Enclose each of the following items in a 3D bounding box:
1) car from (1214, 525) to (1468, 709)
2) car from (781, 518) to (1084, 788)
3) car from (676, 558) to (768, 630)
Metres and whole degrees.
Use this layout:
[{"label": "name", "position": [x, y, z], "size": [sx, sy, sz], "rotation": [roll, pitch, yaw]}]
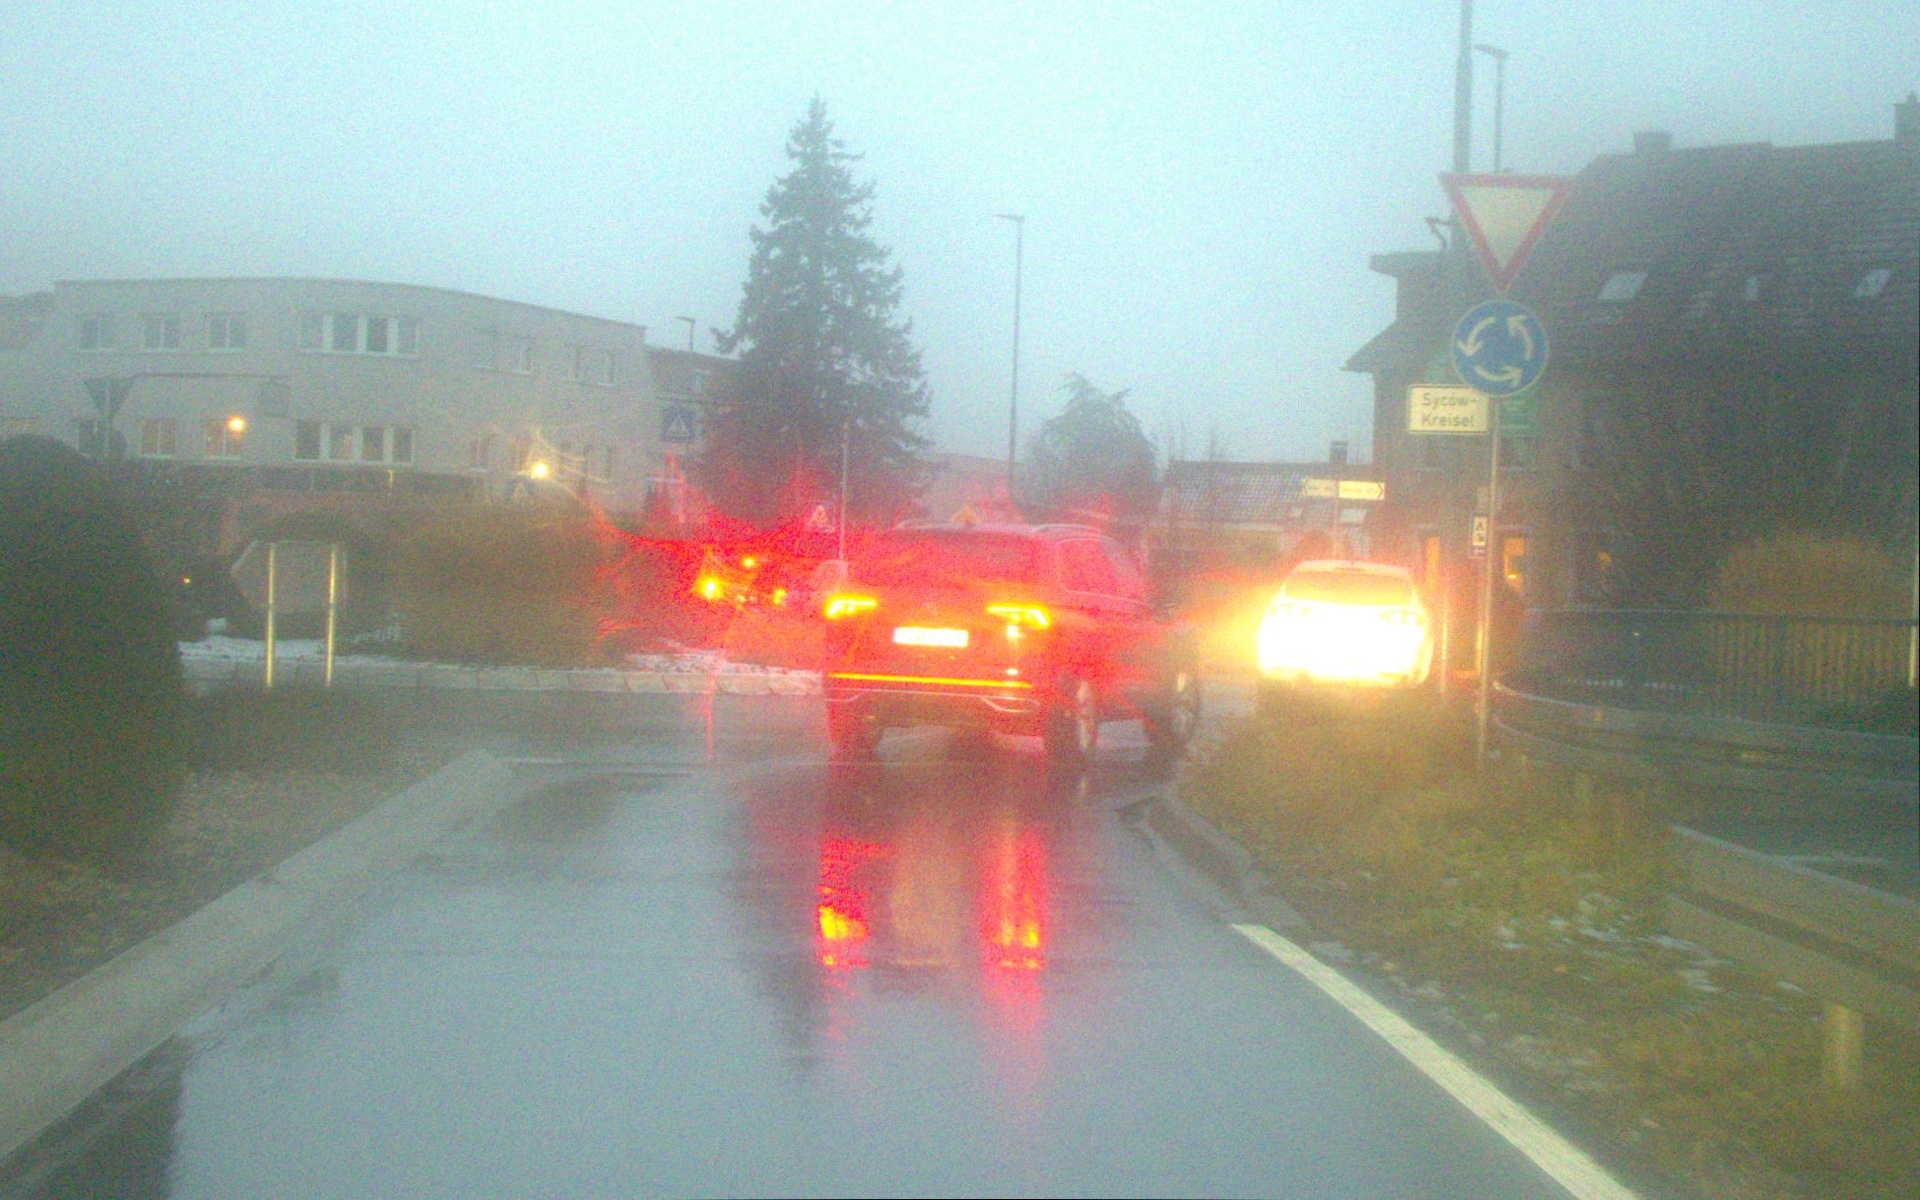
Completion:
[{"label": "car", "position": [4.022, 0.112, 35.635], "size": [2.164, 1.683, 4.569], "rotation": [2, 2, 11]}, {"label": "car", "position": [-0.150, 0.330, 24.832], "size": [1.944, 1.712, 4.000], "rotation": [2, 1, 1]}, {"label": "car", "position": [-5.345, -0.144, 76.763], "size": [1.772, 1.539, 4.001], "rotation": [1, 0, -8]}]
